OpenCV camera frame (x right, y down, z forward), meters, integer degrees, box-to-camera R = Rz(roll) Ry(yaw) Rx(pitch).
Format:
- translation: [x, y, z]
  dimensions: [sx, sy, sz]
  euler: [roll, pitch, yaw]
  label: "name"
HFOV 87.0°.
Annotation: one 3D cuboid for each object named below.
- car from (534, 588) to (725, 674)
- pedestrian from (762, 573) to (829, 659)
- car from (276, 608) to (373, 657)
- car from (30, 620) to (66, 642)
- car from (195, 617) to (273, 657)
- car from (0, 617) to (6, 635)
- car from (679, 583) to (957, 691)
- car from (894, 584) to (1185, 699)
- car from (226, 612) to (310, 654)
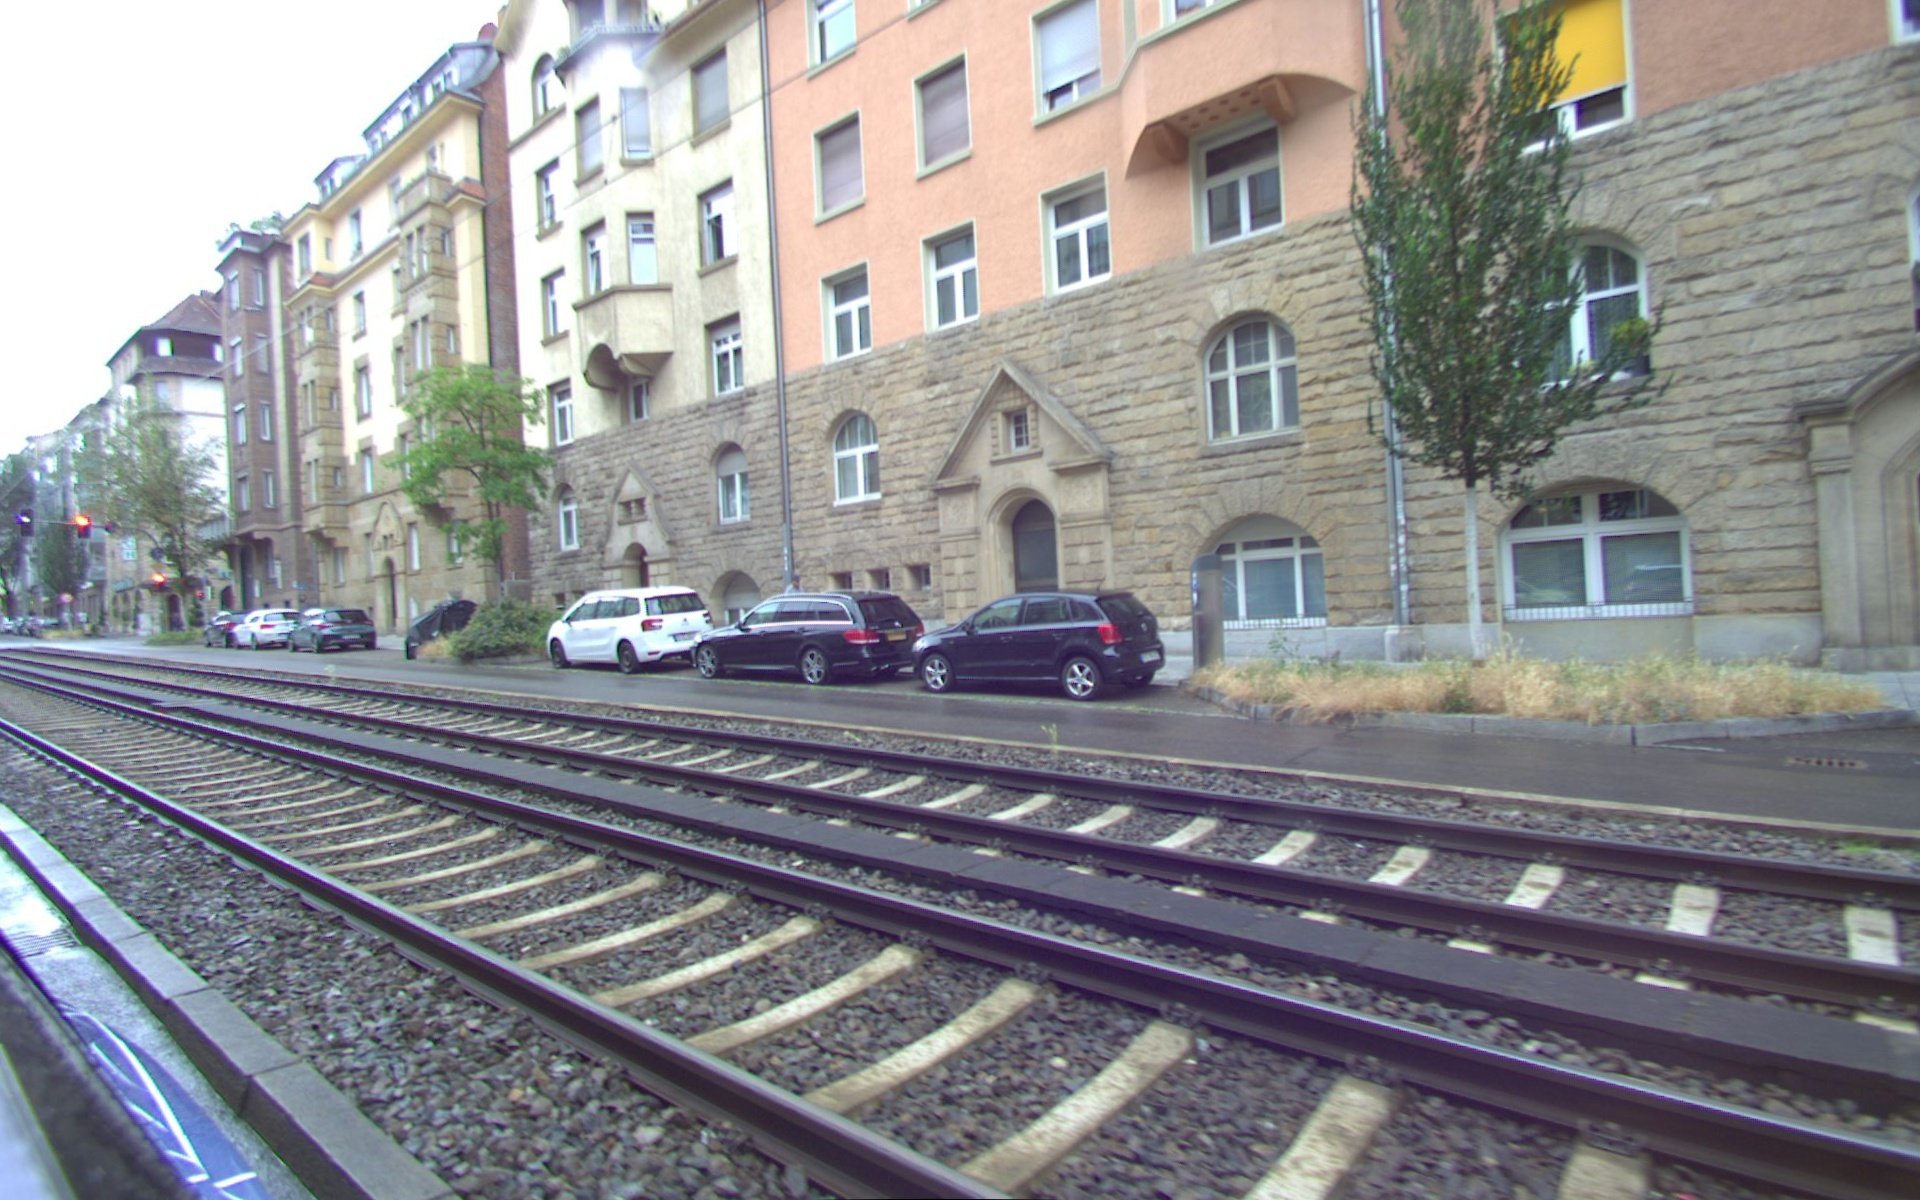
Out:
- translation: [-6.988, 0.623, 21.183]
  dimensions: [4.348, 1.601, 1.766]
  euler: [-2, 1, 40]
  label: "car"
- translation: [-3.530, 0.336, 21.732]
  dimensions: [0.923, 1.767, 0.997]
  euler: [-2, 0, 38]
  label: "pedestrian"
- translation: [-21.184, 1.062, 33.667]
  dimensions: [4.144, 1.448, 1.545]
  euler: [-1, 2, 41]
  label: "car"
- translation: [-67.753, 2.269, 75.161]
  dimensions: [1.786, 1.509, 3.528]
  euler: [-3, 1, -45]
  label: "car"
- translation: [-29.499, 1.469, 41.092]
  dimensions: [3.999, 1.497, 1.746]
  euler: [-1, 1, 42]
  label: "car"
- translation: [-86.908, 2.314, 90.593]
  dimensions: [4.157, 1.581, 1.758]
  euler: [-1, 0, 41]
  label: "car"
- translation: [-2.582, 0.594, 17.517]
  dimensions: [4.972, 1.520, 1.973]
  euler: [-2, 2, 42]
  label: "car"
- translation: [1.054, 0.552, 14.456]
  dimensions: [3.879, 1.408, 1.626]
  euler: [-2, 1, 38]
  label: "car"
- translation: [-25.706, 1.195, 37.538]
  dimensions: [4.262, 1.436, 1.649]
  euler: [-1, 0, 42]
  label: "car"
